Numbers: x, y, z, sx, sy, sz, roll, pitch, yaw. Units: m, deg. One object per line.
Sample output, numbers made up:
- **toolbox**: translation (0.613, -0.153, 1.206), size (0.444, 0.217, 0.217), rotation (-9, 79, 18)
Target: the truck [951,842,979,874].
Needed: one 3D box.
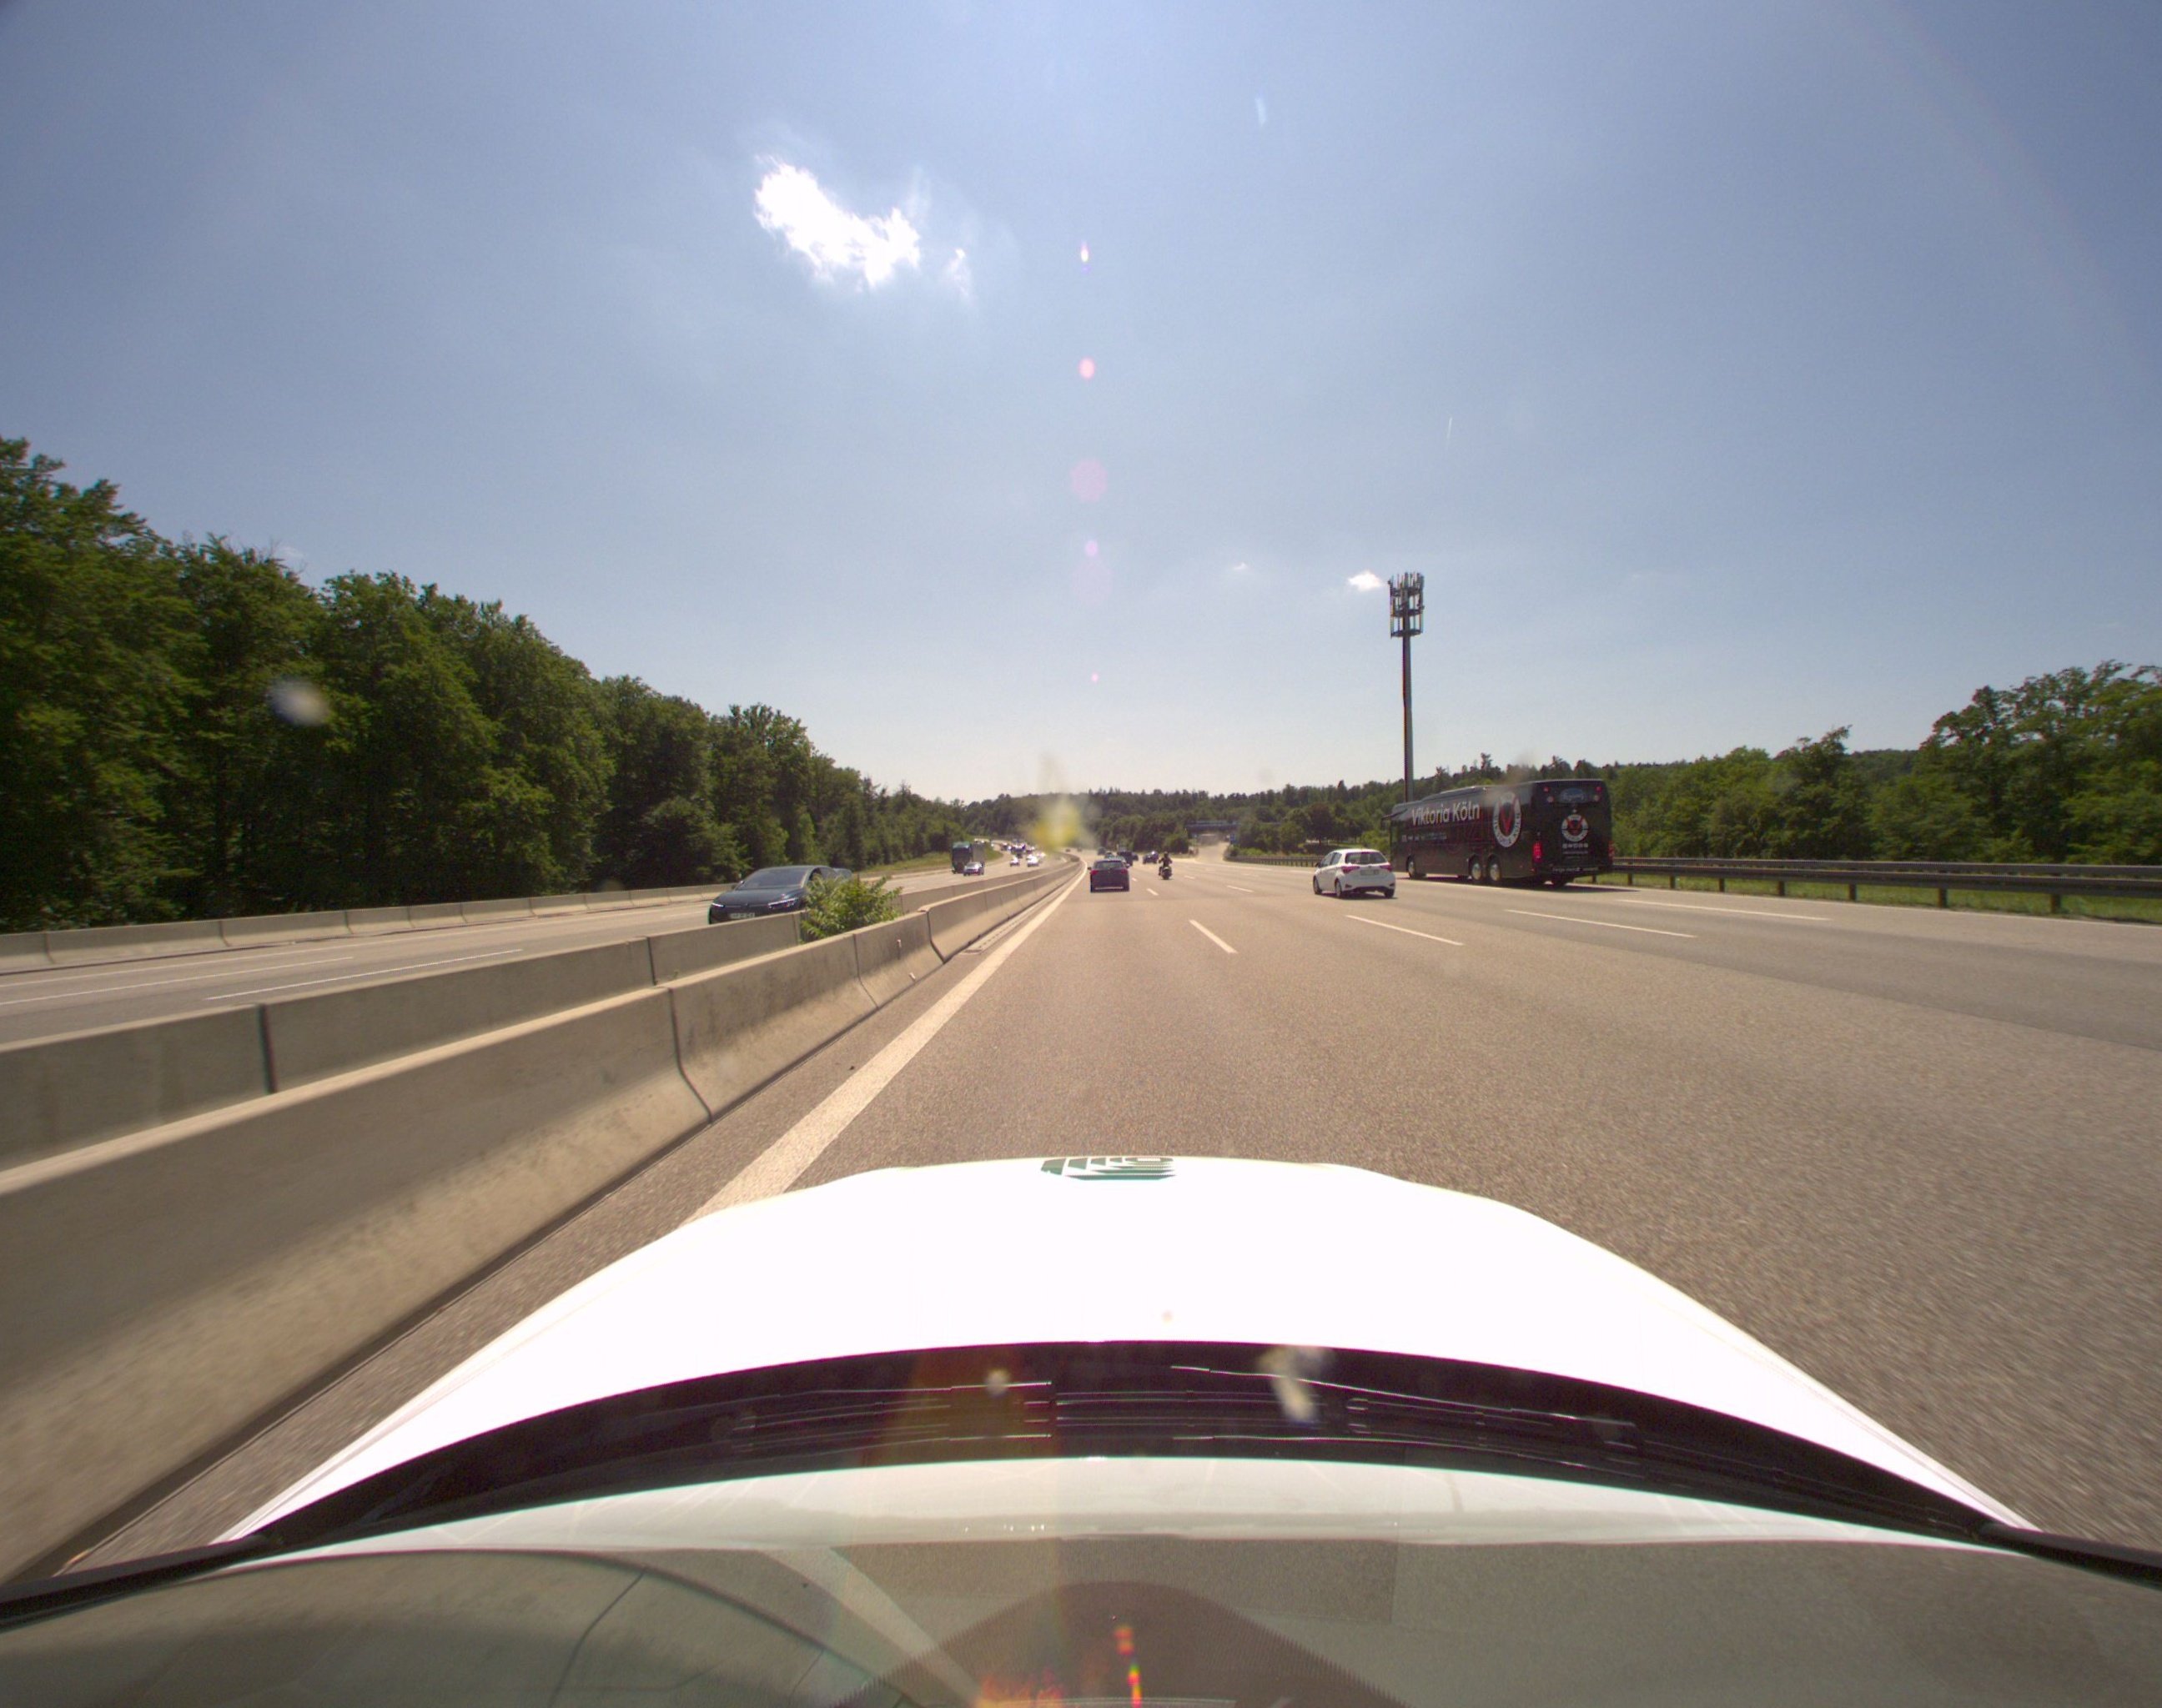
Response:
- **truck**: translation (-15.321, 0.491, 107.627), size (2.649, 4.025, 5.511), rotation (-2, 0, 1)

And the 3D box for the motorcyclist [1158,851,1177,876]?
- **motorcyclist**: translation (5.231, 0.568, 49.349), size (0.959, 1.437, 1.234), rotation (-2, 0, -2)

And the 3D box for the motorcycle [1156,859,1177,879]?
- **motorcycle**: translation (5.161, 0.923, 49.408), size (0.974, 1.129, 2.270), rotation (-2, 0, 0)

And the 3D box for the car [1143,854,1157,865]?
- **car**: translation (9.733, 0.798, 114.394), size (1.669, 1.431, 3.685), rotation (-1, 0, 1)

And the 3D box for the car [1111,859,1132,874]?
- **car**: translation (3.642, 1.111, 73.156), size (1.776, 1.265, 3.461), rotation (-2, 0, 2)

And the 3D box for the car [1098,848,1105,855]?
- **car**: translation (6.228, -0.746, 250.989), size (1.988, 2.013, 4.671), rotation (0, 1, -2)

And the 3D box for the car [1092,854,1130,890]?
- **car**: translation (1.336, 0.806, 36.187), size (1.618, 1.487, 3.687), rotation (0, -2, 2)

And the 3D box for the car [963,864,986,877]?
- **car**: translation (-11.690, 1.810, 89.634), size (1.825, 1.301, 4.730), rotation (0, 0, 1)

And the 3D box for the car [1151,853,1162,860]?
- **car**: translation (14.006, 0.512, 151.417), size (1.603, 1.212, 3.460), rotation (-2, 0, 1)

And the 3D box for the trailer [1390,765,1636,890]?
- **trailer**: translation (15.636, -0.760, 31.440), size (2.846, 3.688, 13.552), rotation (-2, 0, 3)

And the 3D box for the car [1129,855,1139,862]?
- **car**: translation (9.667, 0.831, 148.218), size (1.603, 1.212, 3.460), rotation (-2, 0, 1)

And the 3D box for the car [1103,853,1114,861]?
- **car**: translation (5.944, 0.598, 174.325), size (1.988, 1.684, 4.420), rotation (0, 1, -2)

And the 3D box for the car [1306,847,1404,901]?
- **car**: translation (8.563, 0.588, 25.871), size (1.660, 1.433, 4.377), rotation (-4, 0, 2)

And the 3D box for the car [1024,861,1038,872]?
- **car**: translation (-8.144, 2.005, 132.450), size (1.825, 1.561, 4.777), rotation (-2, 0, 1)

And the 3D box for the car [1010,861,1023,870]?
- **car**: translation (-12.028, 2.089, 152.064), size (1.866, 1.534, 4.136), rotation (-2, 0, 0)

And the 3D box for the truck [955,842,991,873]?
- **truck**: translation (-15.122, 0.423, 115.030), size (2.680, 4.025, 14.302), rotation (-2, 0, 1)

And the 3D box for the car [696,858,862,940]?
- **car**: translation (-6.655, 0.917, 18.613), size (1.824, 1.568, 4.788), rotation (-2, 0, 2)

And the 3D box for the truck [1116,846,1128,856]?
- **truck**: translation (11.603, -0.927, 231.488), size (2.719, 2.786, 5.679), rotation (0, 1, -2)

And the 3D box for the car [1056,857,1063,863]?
- **car**: translation (-5.606, 1.598, 208.765), size (1.596, 1.468, 4.505), rotation (-2, 0, 1)

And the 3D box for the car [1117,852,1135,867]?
- **car**: translation (5.854, 0.654, 106.322), size (2.090, 1.851, 4.080), rotation (-2, 0, 0)

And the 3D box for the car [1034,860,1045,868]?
- **car**: translation (-8.588, 2.073, 170.080), size (1.866, 1.476, 5.112), rotation (-5, 0, 1)
